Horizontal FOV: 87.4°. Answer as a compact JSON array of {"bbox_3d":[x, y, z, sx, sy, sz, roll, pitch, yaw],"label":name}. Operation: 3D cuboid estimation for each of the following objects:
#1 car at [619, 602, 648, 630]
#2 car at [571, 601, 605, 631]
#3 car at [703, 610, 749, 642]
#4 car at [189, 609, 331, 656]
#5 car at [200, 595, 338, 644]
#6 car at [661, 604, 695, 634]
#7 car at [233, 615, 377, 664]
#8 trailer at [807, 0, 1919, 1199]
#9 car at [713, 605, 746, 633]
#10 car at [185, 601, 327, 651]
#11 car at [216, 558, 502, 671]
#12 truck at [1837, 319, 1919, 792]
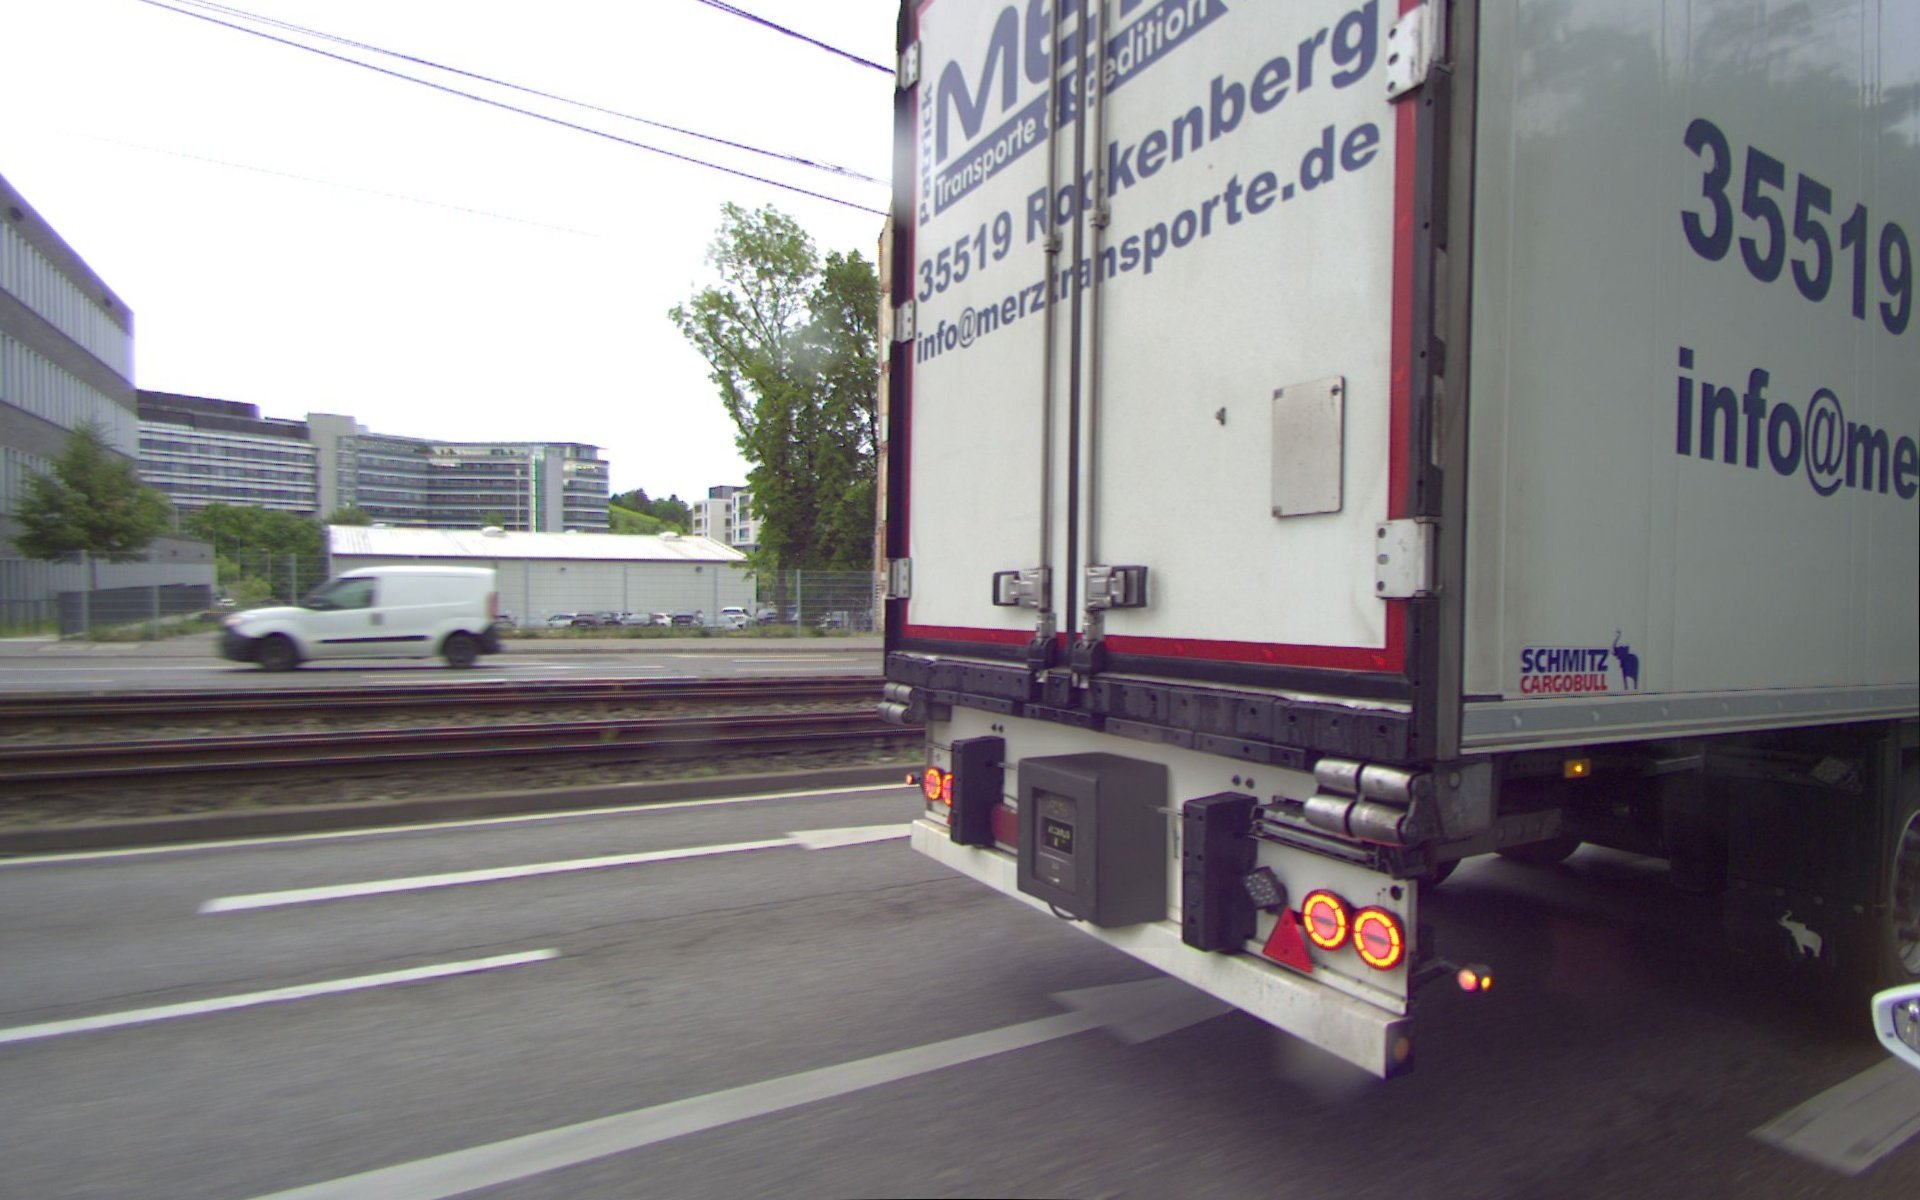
[{"bbox_3d":[-21.502,1.044,66.041,1.719,1.676,3.983,2,0,-18],"label":"car"},{"bbox_3d":[-22.006,0.931,59.521,1.719,1.676,3.983,2,0,-19],"label":"car"},{"bbox_3d":[-12.284,1.342,52.619,1.721,1.533,3.978,2,0,-22],"label":"car"},{"bbox_3d":[-22.062,1.037,31.831,3.527,1.401,1.533,2,0,-31],"label":"car"},{"bbox_3d":[-25.114,0.710,36.682,3.953,1.676,1.732,2,0,-31],"label":"car"},{"bbox_3d":[-17.266,1.123,61.433,1.719,1.676,3.983,2,0,-19],"label":"car"},{"bbox_3d":[-19.680,1.190,30.360,3.527,1.353,1.610,2,0,-31],"label":"car"},{"bbox_3d":[5.671,-0.456,6.340,13.030,4.309,2.749,1,0,-31],"label":"trailer"},{"bbox_3d":[-15.210,1.217,66.117,1.719,1.676,3.983,2,0,-19],"label":"car"},{"bbox_3d":[-23.664,0.879,33.951,3.745,1.565,1.732,2,0,-30],"label":"car"},{"bbox_3d":[-10.506,0.270,17.918,4.163,1.822,1.824,1,-1,-28],"label":"car"},{"bbox_3d":[11.699,-0.341,9.952,6.234,4.261,2.742,1,0,-31],"label":"truck"}]
